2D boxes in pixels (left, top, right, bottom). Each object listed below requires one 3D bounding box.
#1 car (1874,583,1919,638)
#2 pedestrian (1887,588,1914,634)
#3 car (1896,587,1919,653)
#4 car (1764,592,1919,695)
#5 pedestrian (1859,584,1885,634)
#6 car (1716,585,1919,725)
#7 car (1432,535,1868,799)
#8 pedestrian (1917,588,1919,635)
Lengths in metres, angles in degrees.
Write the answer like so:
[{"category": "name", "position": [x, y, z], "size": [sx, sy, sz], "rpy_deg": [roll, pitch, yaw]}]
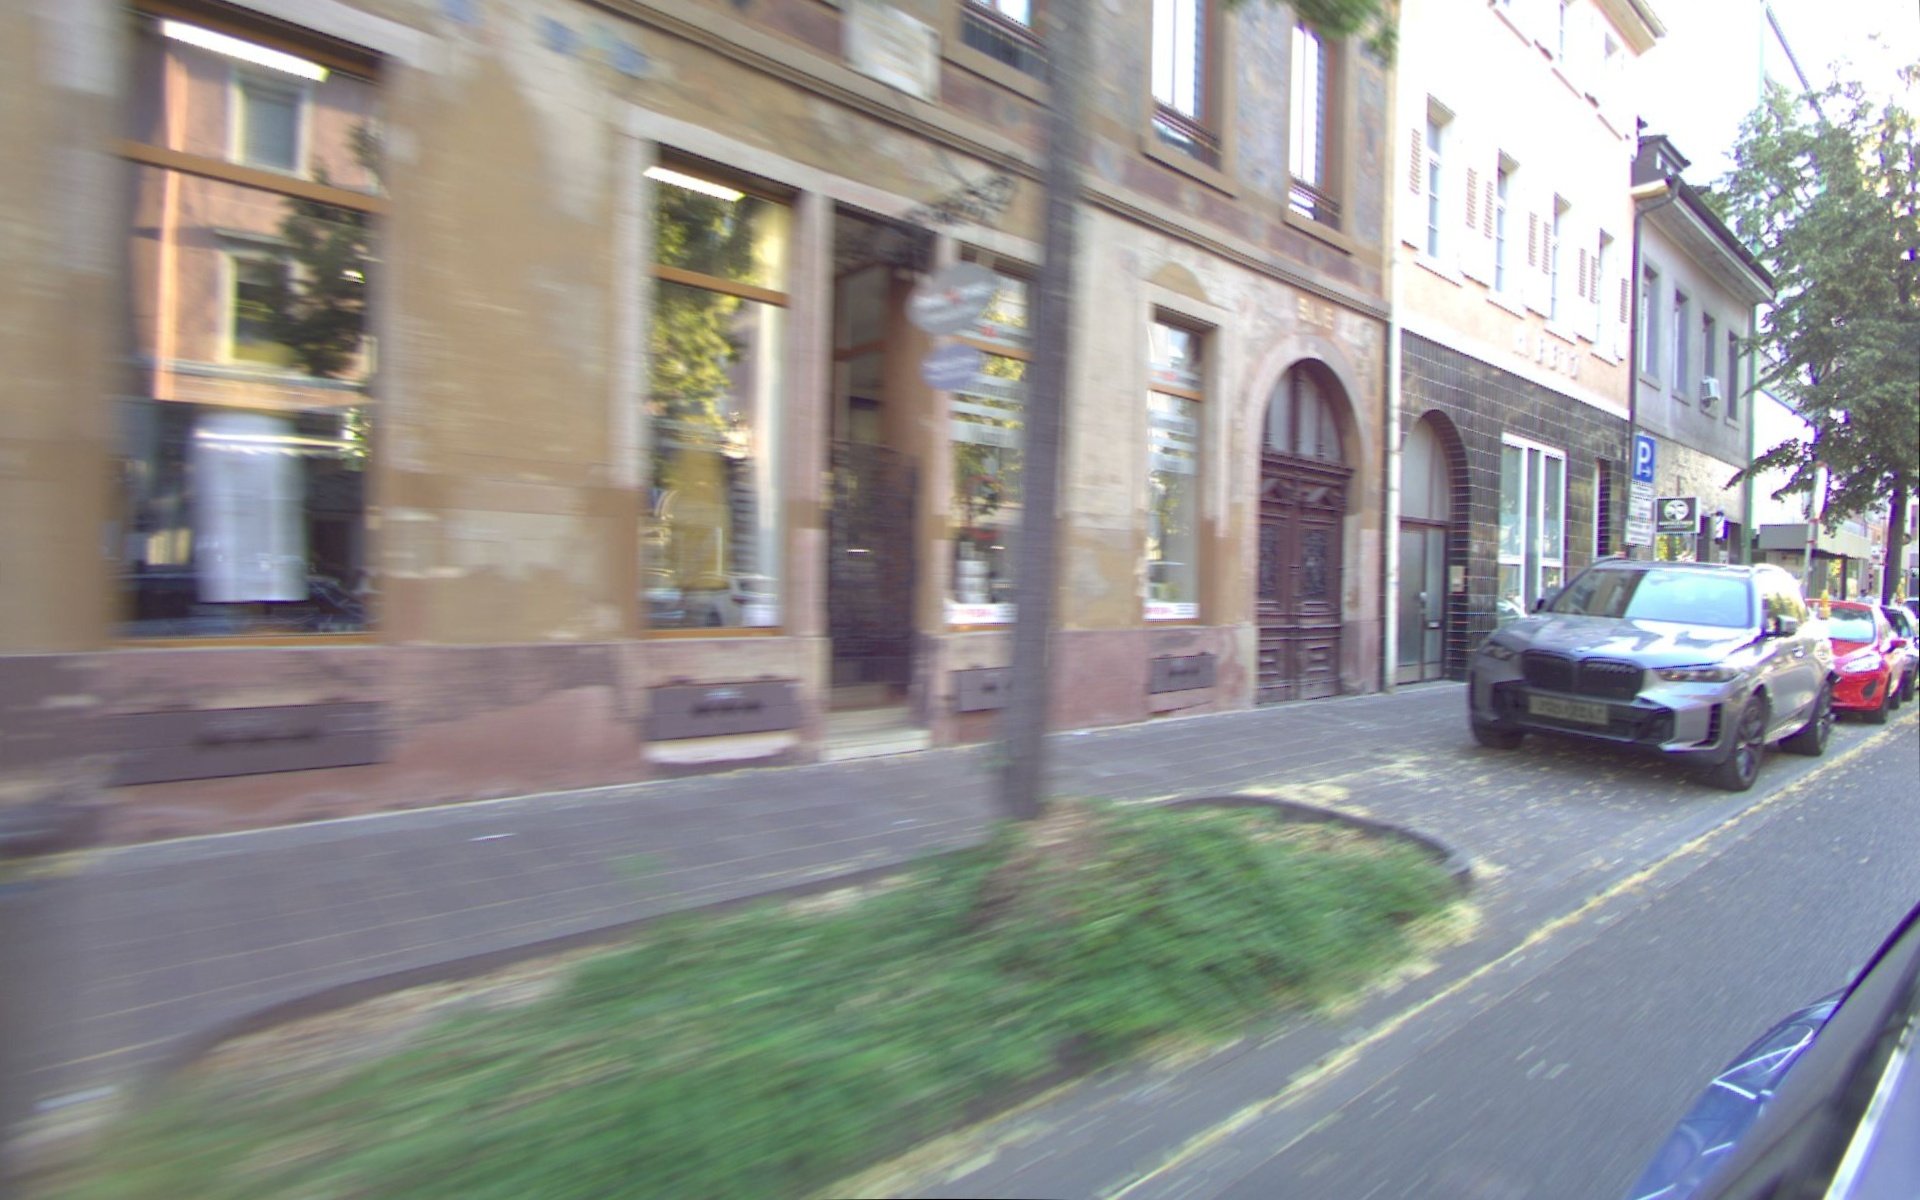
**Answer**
[{"category": "car", "position": [30.207, 0.390, 30.569], "size": [3.555, 1.603, 1.666], "rpy_deg": [3, 1, 1]}, {"category": "pedestrian", "position": [33.712, 0.386, 36.279], "size": [0.657, 1.652, 0.607], "rpy_deg": [0, 1, -41]}, {"category": "car", "position": [24.363, 0.516, 24.813], "size": [3.491, 1.561, 1.695], "rpy_deg": [0, 3, -42]}, {"category": "car", "position": [15.141, 0.640, 17.004], "size": [4.351, 1.407, 1.954], "rpy_deg": [0, 4, -44]}, {"category": "pedestrian", "position": [33.103, 0.324, 36.721], "size": [0.657, 1.760, 0.607], "rpy_deg": [0, 1, -41]}, {"category": "car", "position": [11.606, 0.621, 13.535], "size": [3.836, 1.506, 1.732], "rpy_deg": [0, 4, -44]}, {"category": "car", "position": [6.384, 0.411, 9.146], "size": [4.628, 1.758, 2.043], "rpy_deg": [0, 3, -41]}, {"category": "pedestrian", "position": [34.139, 0.404, 35.505], "size": [0.841, 1.652, 0.747], "rpy_deg": [0, 1, -41]}]
